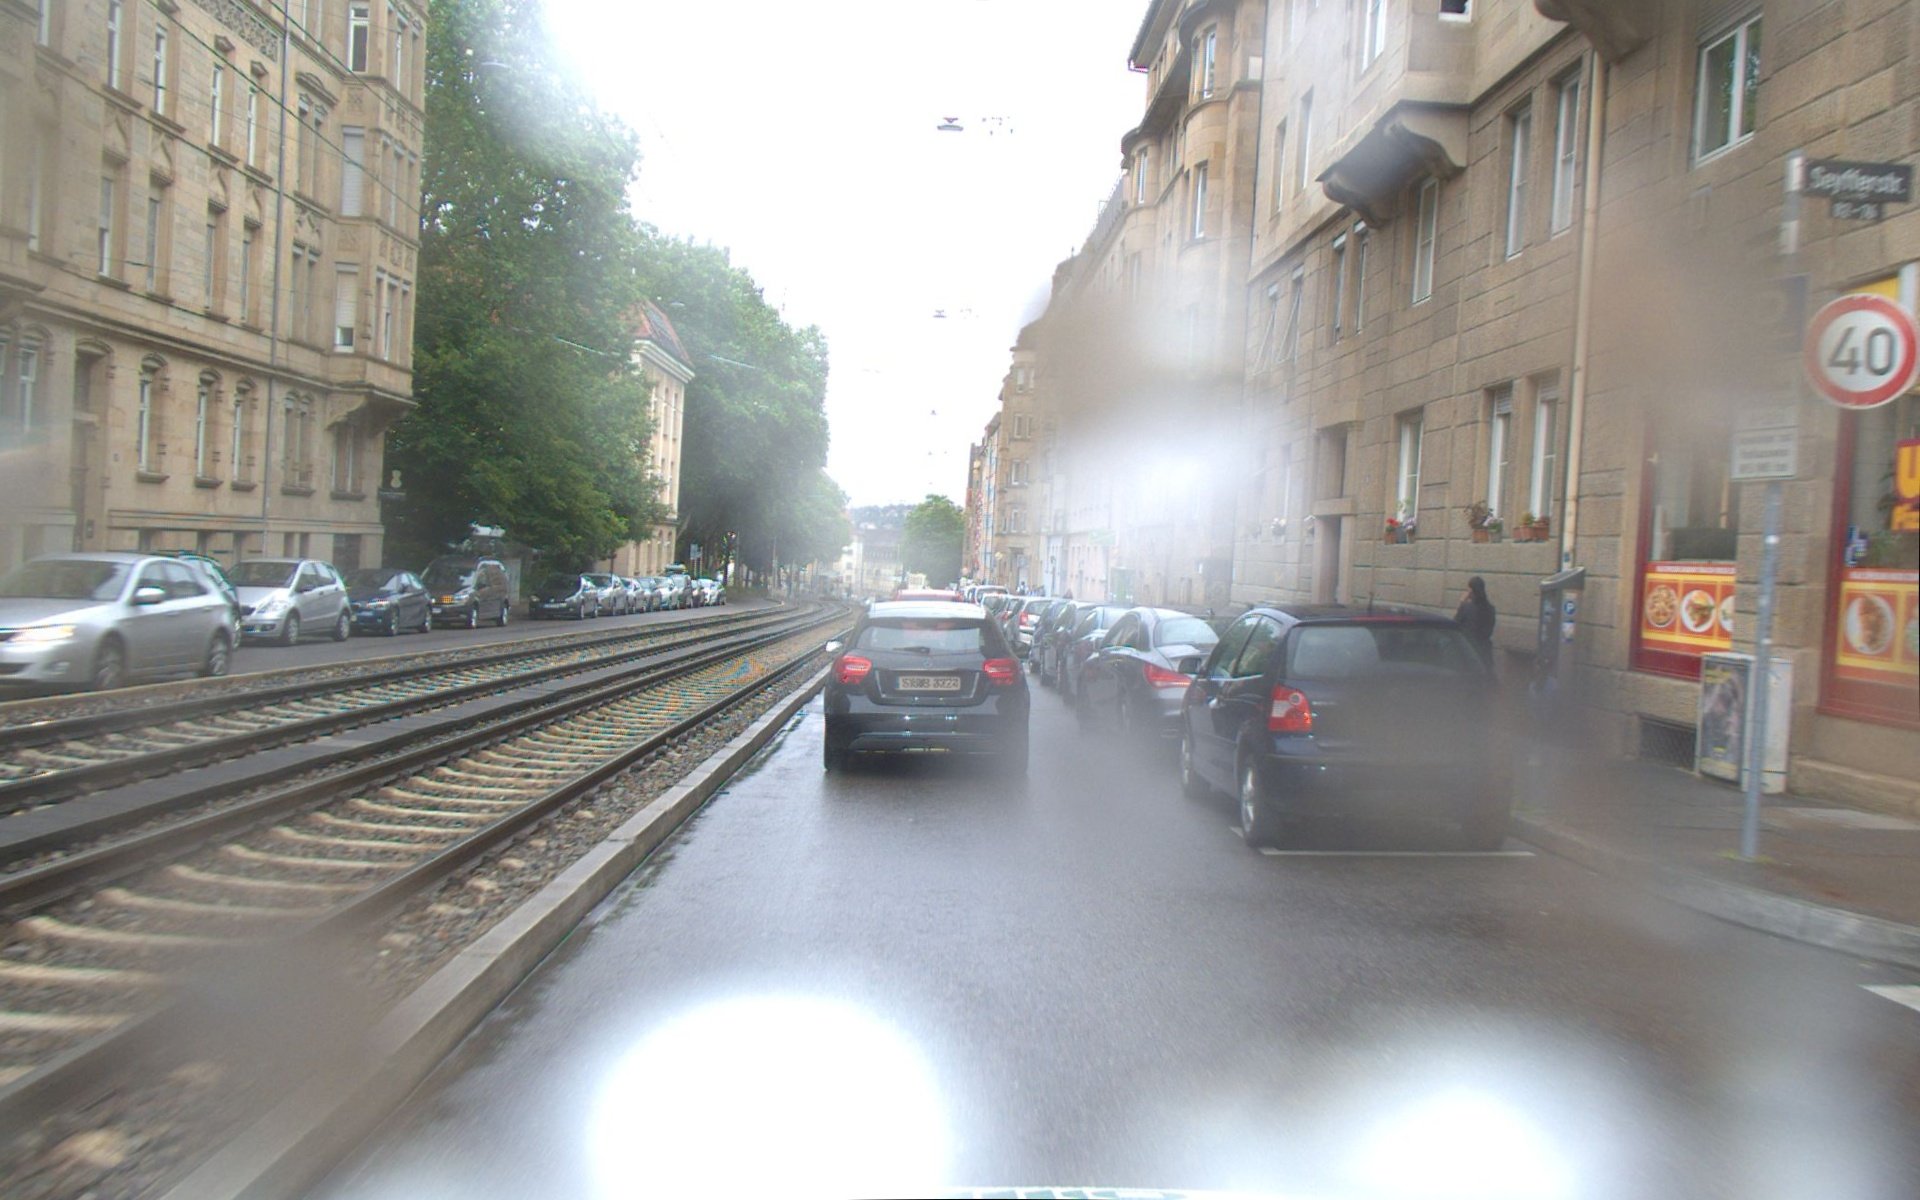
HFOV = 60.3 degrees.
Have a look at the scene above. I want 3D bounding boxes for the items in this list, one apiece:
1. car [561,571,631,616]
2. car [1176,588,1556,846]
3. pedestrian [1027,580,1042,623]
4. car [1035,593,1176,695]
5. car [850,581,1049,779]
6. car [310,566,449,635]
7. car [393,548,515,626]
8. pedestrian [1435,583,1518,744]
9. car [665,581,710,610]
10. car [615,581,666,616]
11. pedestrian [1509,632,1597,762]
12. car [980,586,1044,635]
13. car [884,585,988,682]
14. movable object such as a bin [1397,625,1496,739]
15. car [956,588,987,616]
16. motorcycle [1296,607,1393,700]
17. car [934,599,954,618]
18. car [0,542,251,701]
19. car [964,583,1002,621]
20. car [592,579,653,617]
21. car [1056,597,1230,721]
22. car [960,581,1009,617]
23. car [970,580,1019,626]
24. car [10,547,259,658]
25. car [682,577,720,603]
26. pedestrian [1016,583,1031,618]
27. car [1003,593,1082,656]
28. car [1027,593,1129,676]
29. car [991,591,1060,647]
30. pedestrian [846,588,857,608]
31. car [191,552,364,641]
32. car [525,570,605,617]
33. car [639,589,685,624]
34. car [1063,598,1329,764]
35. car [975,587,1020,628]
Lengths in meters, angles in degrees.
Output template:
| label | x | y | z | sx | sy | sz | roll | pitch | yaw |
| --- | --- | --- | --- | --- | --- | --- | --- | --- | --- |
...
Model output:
| label | x | y | z | sx | sy | sz | roll | pitch | yaw |
| --- | --- | --- | --- | --- | --- | --- | --- | --- | --- |
| car | -13.369 | -0.253 | 61.003 | 1.719 | 1.563 | 4.541 | 0 | 0 | -2 |
| car | 2.591 | 0.661 | 11.429 | 1.637 | 1.469 | 3.790 | 0 | 0 | -1 |
| pedestrian | 3.128 | 0.076 | 69.524 | 0.595 | 1.794 | 0.688 | 0 | 0 | -2 |
| car | 2.321 | 0.662 | 27.353 | 1.752 | 1.488 | 4.081 | 2 | 0 | -3 |
| car | -0.131 | 0.632 | 15.073 | 1.548 | 1.531 | 3.573 | 2 | 0 | -2 |
| car | -12.851 | -0.011 | 36.901 | 1.727 | 1.422 | 4.268 | 1 | 0 | -2 |
| car | -13.046 | -0.341 | 42.969 | 1.764 | 1.879 | 4.817 | 1 | 0 | -1 |
| pedestrian | 5.179 | 0.625 | 16.605 | 0.550 | 1.562 | 0.710 | 2 | 0 | -1 |
| car | -14.182 | -0.249 | 86.260 | 1.640 | 1.438 | 4.010 | 0 | 0 | 0 |
| car | -13.641 | -0.087 | 70.764 | 1.508 | 1.438 | 3.951 | 0 | 0 | -2 |
| pedestrian | 5.162 | 0.834 | 14.416 | 0.500 | 1.068 | 0.626 | 2 | 0 | -1 |
| car | 1.611 | 0.292 | 52.489 | 1.636 | 1.434 | 4.309 | 2 | 0 | -3 |
| car | -0.453 | 0.570 | 30.548 | 1.749 | 1.608 | 3.999 | 2 | 0 | -1 |
| movable object such as a bin | 5.150 | 0.850 | 17.552 | 0.651 | 1.122 | 1.123 | 3 | 0 | -2 |
| car | 0.660 | 0.082 | 97.956 | 1.659 | 1.556 | 3.999 | 2 | 0 | -1 |
| motorcycle | 5.551 | 0.741 | 24.065 | 0.691 | 1.219 | 2.745 | 2 | 0 | -1 |
| car | -1.462 | 0.774 | 148.591 | 1.790 | 1.646 | 3.863 | 1 | 1 | -1 |
| car | -9.408 | 0.172 | 17.670 | 1.942 | 1.482 | 4.292 | 1 | 0 | -3 |
| car | 1.120 | 0.066 | 82.687 | 1.791 | 1.781 | 4.467 | 2 | 0 | 0 |
| car | -13.469 | -0.095 | 66.271 | 1.719 | 1.438 | 4.152 | 0 | 0 | -2 |
| car | 2.335 | 0.713 | 22.054 | 1.673 | 1.422 | 4.016 | 2 | 0 | -3 |
| car | 1.041 | -0.077 | 73.070 | 1.834 | 1.481 | 4.901 | 2 | 1 | -2 |
| car | 1.386 | 0.105 | 67.558 | 1.755 | 1.796 | 4.210 | 1 | 0 | -2 |
| car | -12.734 | 0.022 | 25.837 | 1.832 | 1.534 | 4.168 | 2 | 0 | -1 |
| car | -14.224 | -0.541 | 91.076 | 1.469 | 1.415 | 3.987 | 0 | 0 | 0 |
| pedestrian | 3.397 | 0.007 | 88.581 | 0.730 | 1.866 | 1.039 | 0 | 0 | 0 |
| car | 2.027 | 0.568 | 41.422 | 1.559 | 1.459 | 3.682 | 1 | 0 | -3 |
| car | 2.214 | 0.619 | 31.694 | 1.513 | 1.439 | 3.444 | 2 | 0 | -3 |
| car | 1.815 | 0.507 | 46.855 | 1.634 | 1.459 | 3.954 | 1 | 0 | -2 |
| pedestrian | -8.742 | -0.164 | 133.050 | 0.789 | 1.662 | 0.892 | 1 | 0 | -1 |
| car | -12.718 | -0.077 | 31.060 | 1.660 | 1.550 | 3.854 | 1 | 0 | -1 |
| car | -13.266 | -0.225 | 55.765 | 1.812 | 1.489 | 4.548 | 0 | 0 | -3 |
| car | -13.732 | 0.277 | 76.305 | 1.508 | 1.531 | 4.153 | 0 | 0 | -2 |
| car | 2.208 | 0.705 | 16.710 | 1.720 | 1.411 | 4.481 | 0 | 0 | -5 |
| car | 1.423 | 0.270 | 63.276 | 1.538 | 1.487 | 3.599 | 2 | 0 | -1 |
